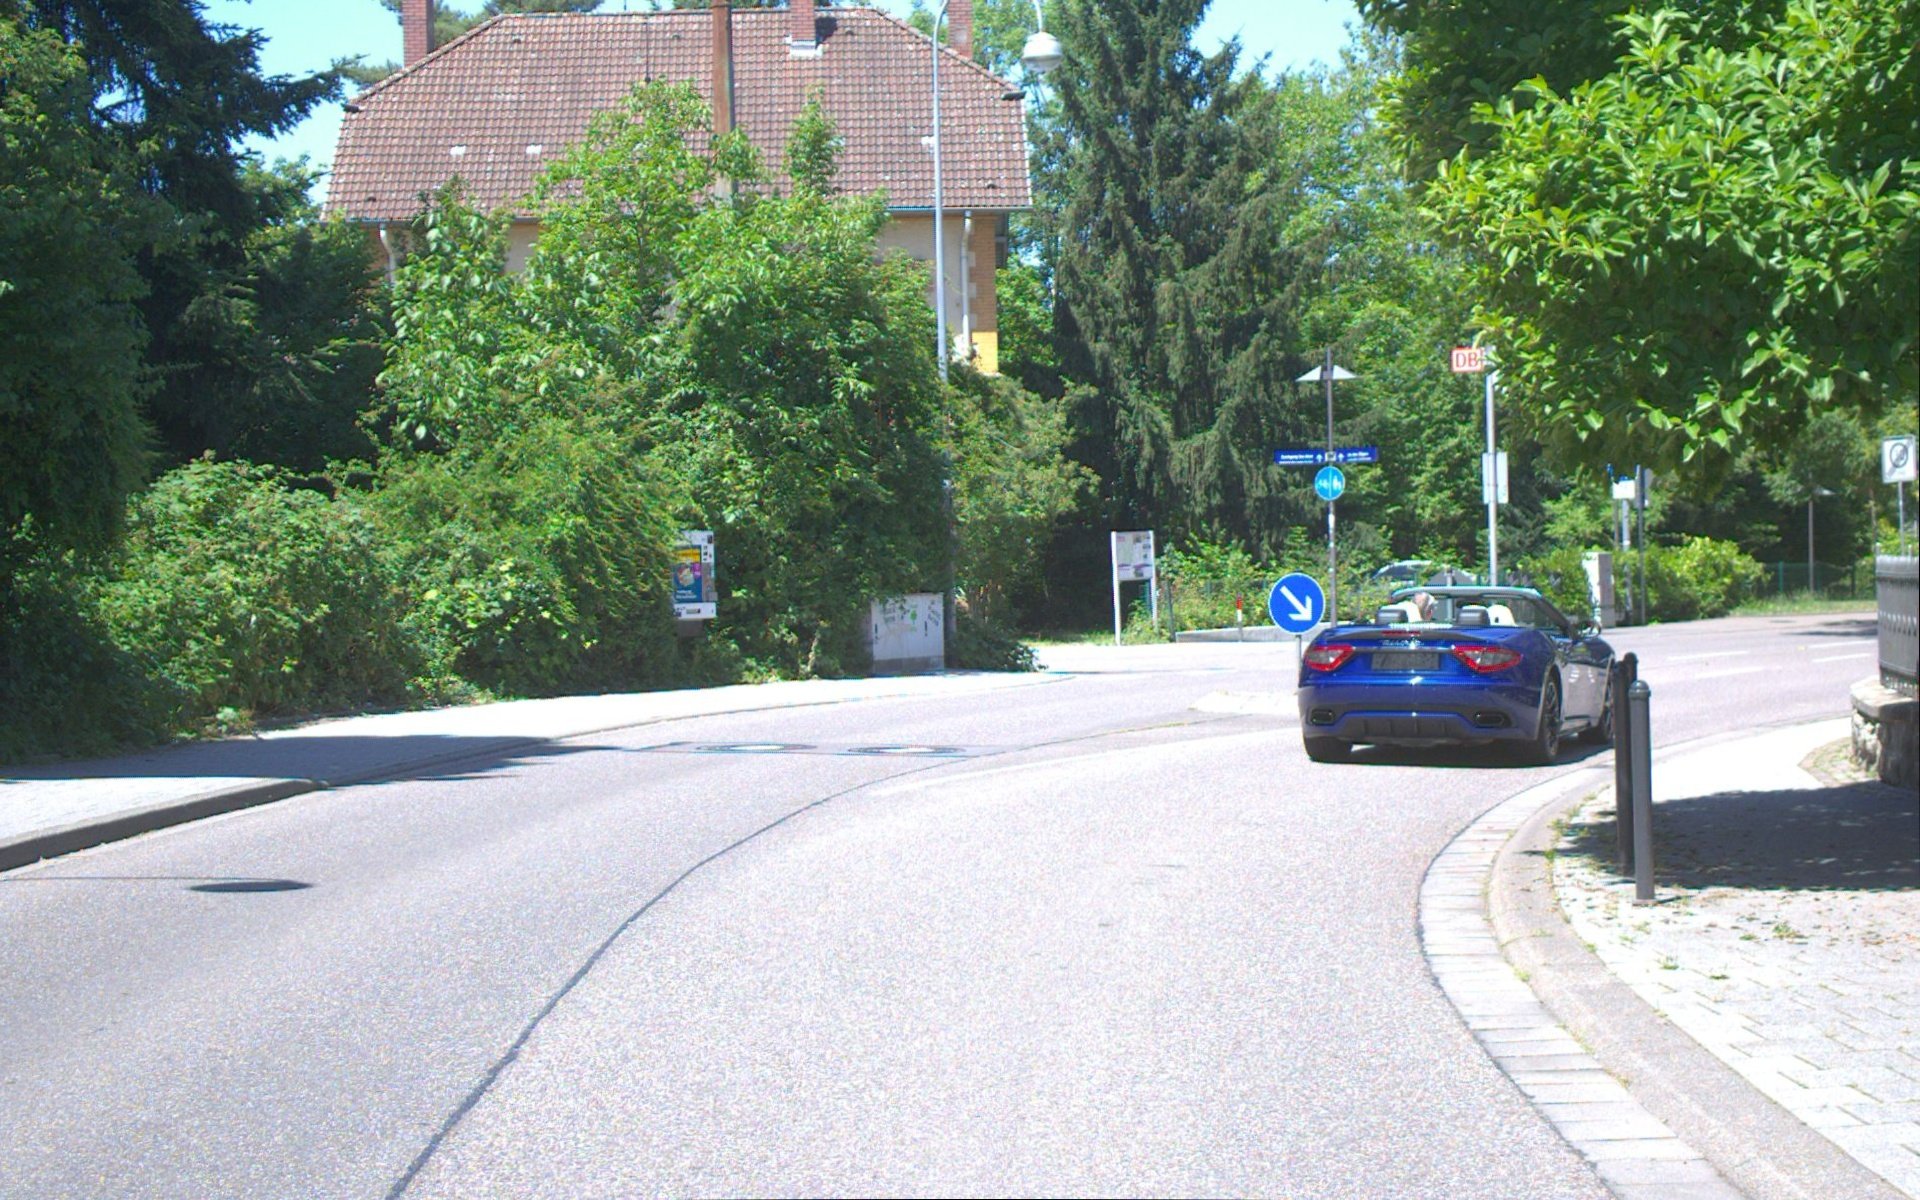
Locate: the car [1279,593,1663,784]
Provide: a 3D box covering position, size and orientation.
[{"bbox_3d":[4.147,0.628,27.250,1.829,1.332,4.694,1,1,24],"label":"car"}]
